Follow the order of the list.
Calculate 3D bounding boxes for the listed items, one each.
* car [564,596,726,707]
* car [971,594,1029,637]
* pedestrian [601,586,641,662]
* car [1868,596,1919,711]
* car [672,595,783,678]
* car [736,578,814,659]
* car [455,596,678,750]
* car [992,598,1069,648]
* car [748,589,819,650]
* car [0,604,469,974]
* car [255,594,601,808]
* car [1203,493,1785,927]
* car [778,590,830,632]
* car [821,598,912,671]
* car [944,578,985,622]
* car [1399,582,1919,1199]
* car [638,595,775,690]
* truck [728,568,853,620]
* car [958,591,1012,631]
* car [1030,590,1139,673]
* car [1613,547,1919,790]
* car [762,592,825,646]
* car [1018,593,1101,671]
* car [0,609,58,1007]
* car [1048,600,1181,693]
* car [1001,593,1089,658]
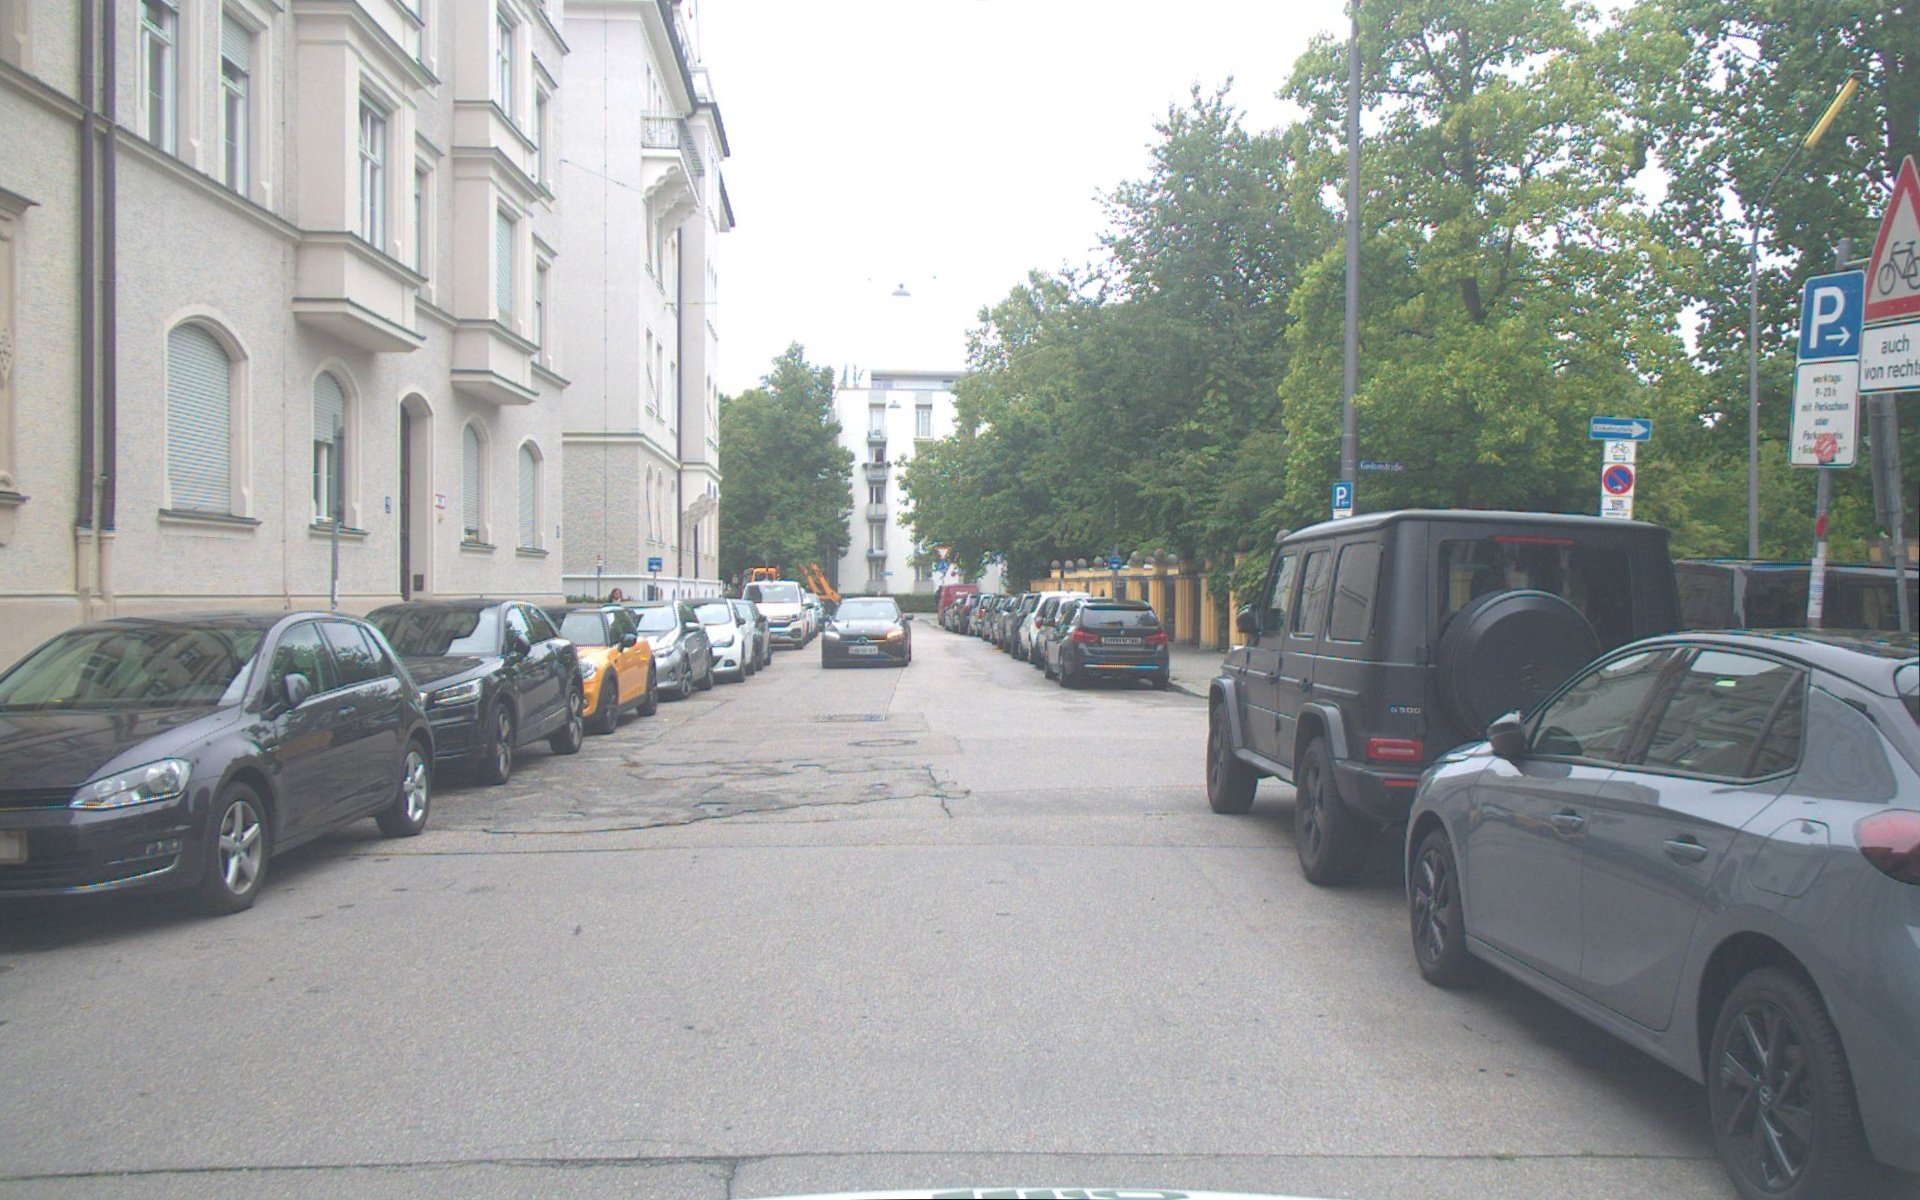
[{"bbox_3d":[-4.740,0.730,25.369,1.690,1.526,3.930,-2,0,0],"label":"car"},{"bbox_3d":[1.464,0.560,62.589,1.802,1.545,3.944,1,0,-4],"label":"car"},{"bbox_3d":[-7.686,0.529,37.531,0.776,1.708,0.699,0,0,-4],"label":"pedestrian"},{"bbox_3d":[14.790,0.690,21.981,4.504,1.508,1.920,0,0,-6],"label":"car"},{"bbox_3d":[-4.859,0.714,35.079,1.799,1.525,4.273,-3,1,-2],"label":"car"},{"bbox_3d":[-5.387,0.481,48.607,1.849,2.164,4.704,-3,1,-3],"label":"car"},{"bbox_3d":[-4.577,0.783,19.798,1.607,1.525,3.972,-3,1,1],"label":"car"},{"bbox_3d":[2.028,0.659,48.693,1.802,1.369,3.944,1,0,-4],"label":"car"},{"bbox_3d":[-5.810,0.597,54.879,1.975,1.802,4.412,-3,1,-3],"label":"car"},{"bbox_3d":[-4.275,0.836,9.119,1.799,1.460,4.244,-3,1,0],"label":"car"},{"bbox_3d":[-4.509,0.764,14.666,1.717,1.525,4.019,-2,1,0],"label":"car"},{"bbox_3d":[2.837,0.463,10.046,1.911,1.988,4.665,1,1,-1],"label":"car"},{"bbox_3d":[-6.788,0.455,72.386,1.975,1.662,4.412,-3,1,-3],"label":"car"},{"bbox_3d":[-2.018,0.703,35.845,1.837,1.453,4.406,0,0,-3],"label":"car"},{"bbox_3d":[0.235,-0.006,78.534,1.798,1.960,4.005,2,1,1],"label":"car"},{"bbox_3d":[2.813,0.769,5.265,1.688,1.545,3.629,2,0,-2],"label":"car"},{"bbox_3d":[-4.550,0.714,30.267,1.799,1.463,4.274,-3,1,0],"label":"car"},{"bbox_3d":[-10.955,-0.421,106.802,7.557,3.298,2.882,-1,0,-20],"label":"truck"},{"bbox_3d":[0.983,0.421,66.624,1.802,1.545,3.944,1,0,-4],"label":"car"},{"bbox_3d":[2.436,0.603,33.213,1.620,1.545,3.792,1,0,-4],"label":"car"},{"bbox_3d":[8.492,0.528,15.001,4.443,1.984,1.901,-1,2,-7],"label":"car"},{"bbox_3d":[-6.064,0.664,60.678,1.975,1.756,4.272,-3,1,-3],"label":"car"},{"bbox_3d":[2.235,0.697,37.938,1.483,1.690,3.672,1,0,-3],"label":"car"},{"bbox_3d":[-4.397,0.826,4.187,1.796,1.459,4.552,-2,1,-2],"label":"car"},{"bbox_3d":[2.542,0.740,28.199,1.801,1.438,4.342,1,0,-1],"label":"car"},{"bbox_3d":[2.169,0.640,43.127,1.802,1.578,3.944,1,0,-4],"label":"car"}]
